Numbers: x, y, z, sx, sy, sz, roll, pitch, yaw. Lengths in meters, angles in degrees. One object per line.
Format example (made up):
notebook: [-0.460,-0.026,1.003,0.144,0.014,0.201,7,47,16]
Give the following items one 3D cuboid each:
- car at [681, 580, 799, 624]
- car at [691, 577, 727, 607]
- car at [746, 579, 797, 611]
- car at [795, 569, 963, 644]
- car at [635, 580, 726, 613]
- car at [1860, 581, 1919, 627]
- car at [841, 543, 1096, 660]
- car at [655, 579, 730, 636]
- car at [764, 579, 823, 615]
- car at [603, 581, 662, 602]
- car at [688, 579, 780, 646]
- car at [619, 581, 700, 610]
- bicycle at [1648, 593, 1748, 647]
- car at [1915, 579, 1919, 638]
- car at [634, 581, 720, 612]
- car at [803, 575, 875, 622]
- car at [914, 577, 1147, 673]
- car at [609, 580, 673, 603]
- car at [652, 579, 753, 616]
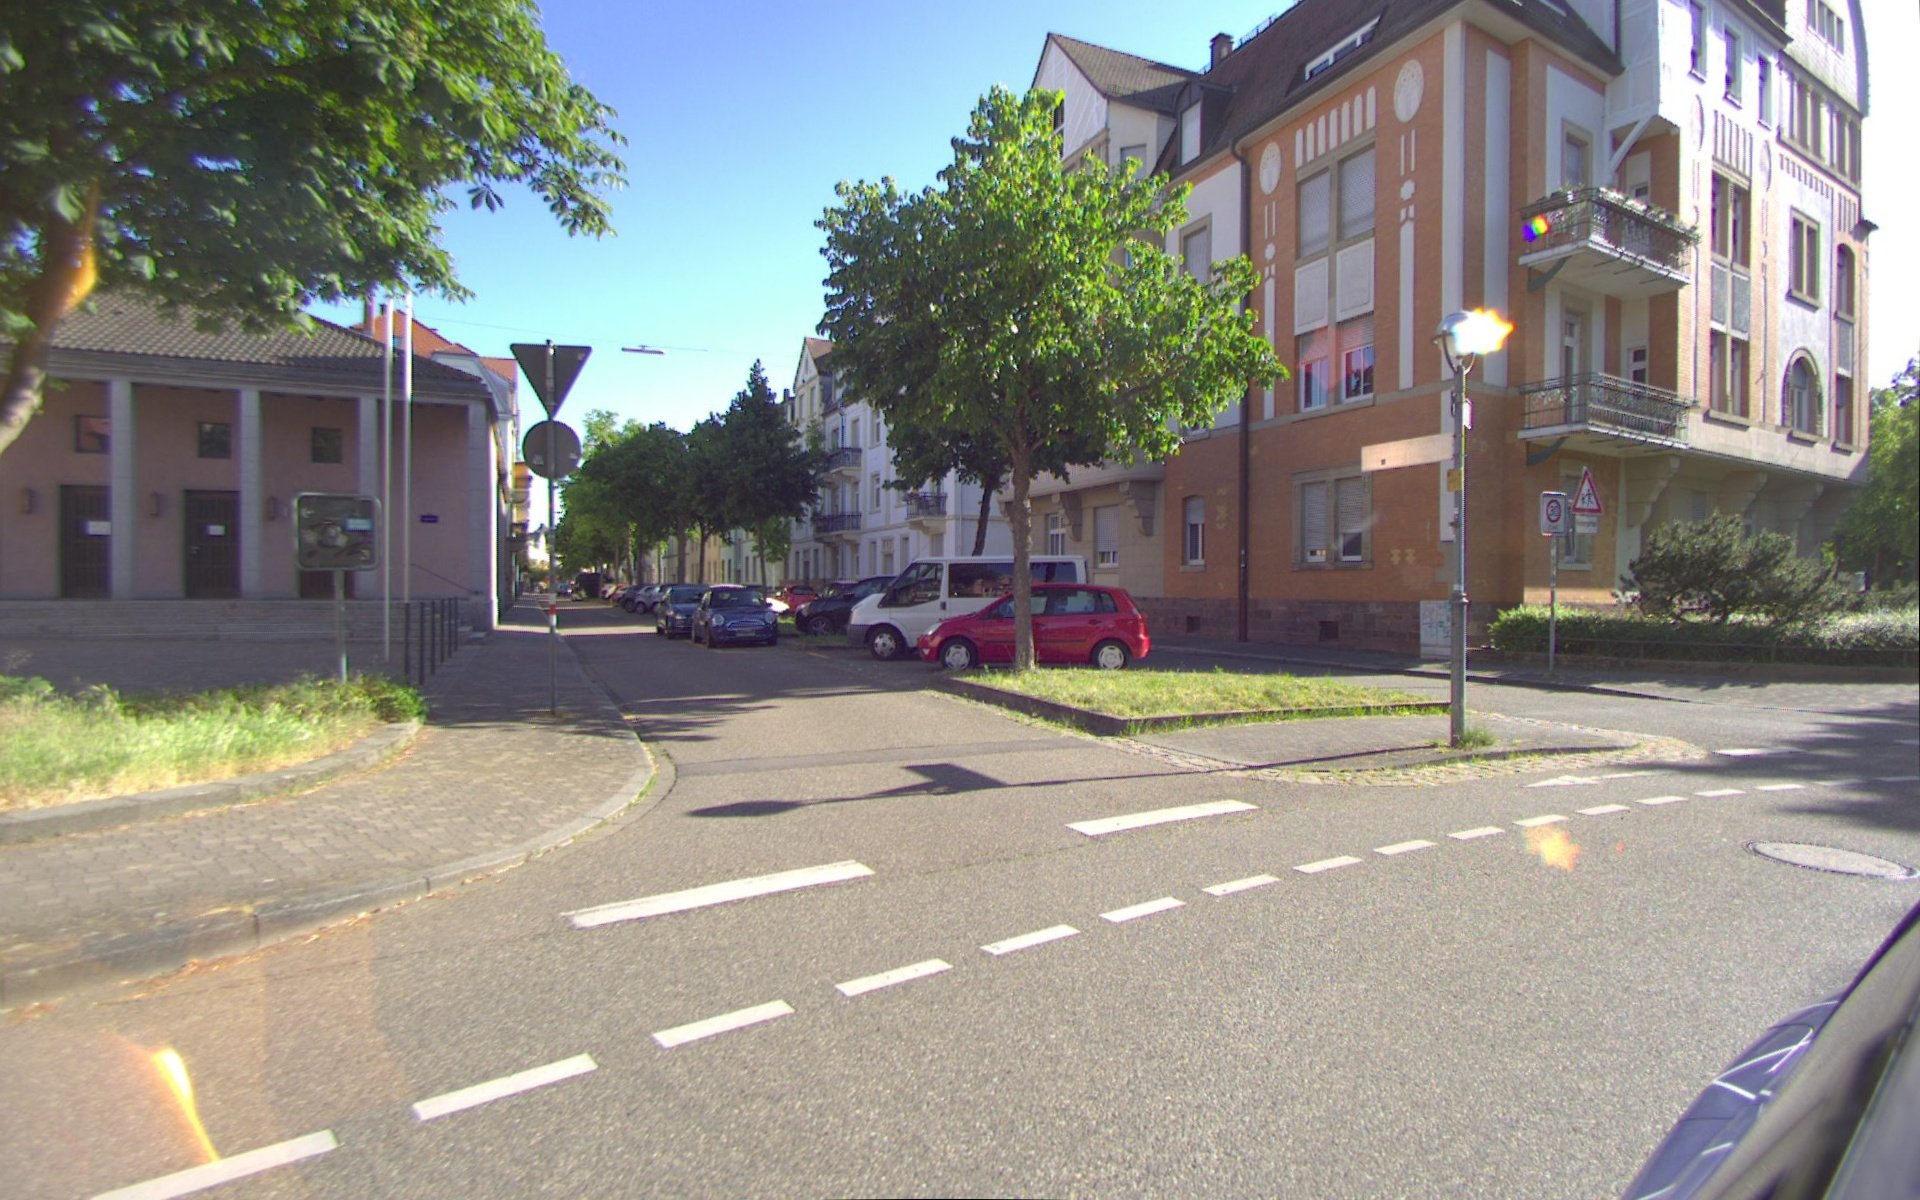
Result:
car: [-8.092,0.047,37.306,3.896,1.515,1.755,1,1,13]
car: [-16.223,-0.531,65.253,1.724,1.863,3.964,0,1,-21]
car: [-9.225,-0.263,49.282,1.724,1.474,3.964,0,1,-21]
car: [-1.977,0.120,25.208,3.889,1.760,1.757,1,1,9]
car: [-13.514,-0.199,49.045,3.896,1.515,1.755,1,1,13]
car: [32.337,0.117,34.353,1.783,1.472,4.164,-2,-1,30]
car: [0.229,-0.014,19.502,4.631,2.071,1.988,1,1,11]
car: [-7.701,0.168,28.931,1.581,1.439,3.621,-3,2,-22]
car: [-7.205,-0.169,43.600,1.724,1.474,3.964,0,1,-21]
car: [-24.885,-0.654,77.027,3.884,1.515,1.760,1,1,4]
car: [-5.599,0.235,24.794,1.581,1.439,3.621,-3,2,-22]
car: [-16.339,-0.250,55.067,3.884,1.515,1.760,1,1,4]
bicycle: [15.901,0.400,21.838,0.490,1.085,1.676,0,1,-32]
car: [29.263,0.241,29.002,1.783,1.789,4.164,-2,-1,30]
car: [-14.528,-0.216,52.008,3.896,1.515,1.755,1,1,13]
car: [-4.576,-0.083,37.850,1.724,1.678,3.964,0,1,-21]
car: [1.183,0.361,16.687,3.634,1.453,1.665,1,1,9]
car: [-22.438,-0.601,71.246,3.884,1.515,1.760,1,1,4]
car: [-11.110,-0.124,43.729,3.896,1.515,1.755,1,1,13]
